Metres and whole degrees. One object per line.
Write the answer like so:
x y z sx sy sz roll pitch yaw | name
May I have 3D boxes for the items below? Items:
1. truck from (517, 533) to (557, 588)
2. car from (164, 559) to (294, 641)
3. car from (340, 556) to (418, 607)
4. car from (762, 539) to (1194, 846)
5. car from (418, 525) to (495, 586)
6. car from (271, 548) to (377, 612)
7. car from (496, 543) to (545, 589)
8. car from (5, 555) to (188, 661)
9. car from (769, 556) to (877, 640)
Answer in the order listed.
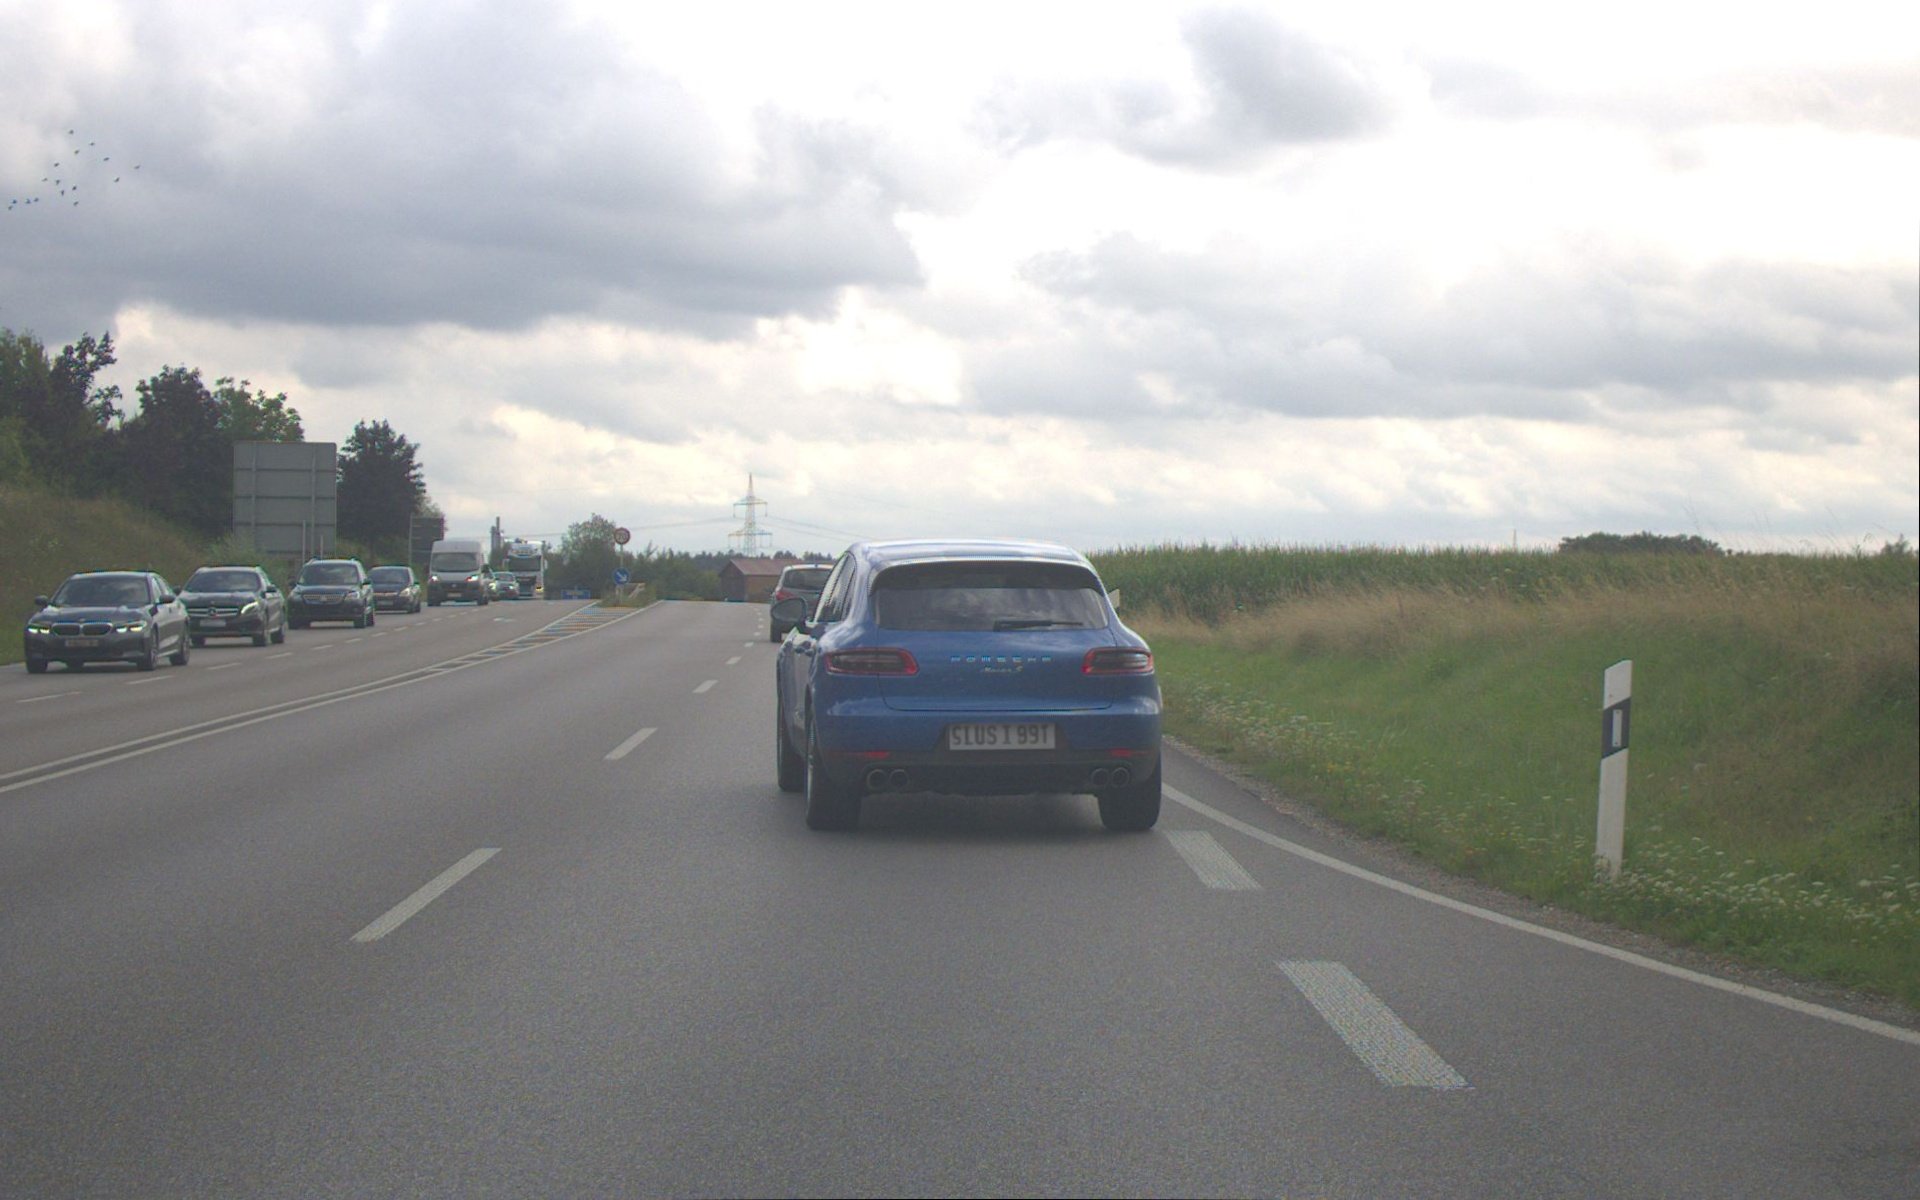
-29.025 -2.711 235.797 2.567 3.623 14.664 -1 1 -7 | truck
-13.989 -0.023 65.985 1.796 1.481 4.169 -1 1 -3 | car
-17.737 -0.575 105.050 1.993 1.486 4.001 -1 1 -5 | car
-0.035 0.449 20.293 1.993 1.565 4.757 -1 1 -6 | car
-18.898 -1.682 129.277 2.363 2.204 5.923 -1 1 -4 | car
-15.466 -0.503 83.761 1.993 1.503 4.001 0 1 -3 | car
-21.990 -1.712 171.917 2.363 2.204 5.309 -1 1 -7 | car
-12.722 0.087 50.870 1.993 1.503 4.001 0 1 -5 | car
-2.663 -0.065 65.989 1.993 1.530 4.001 0 1 -3 | car
